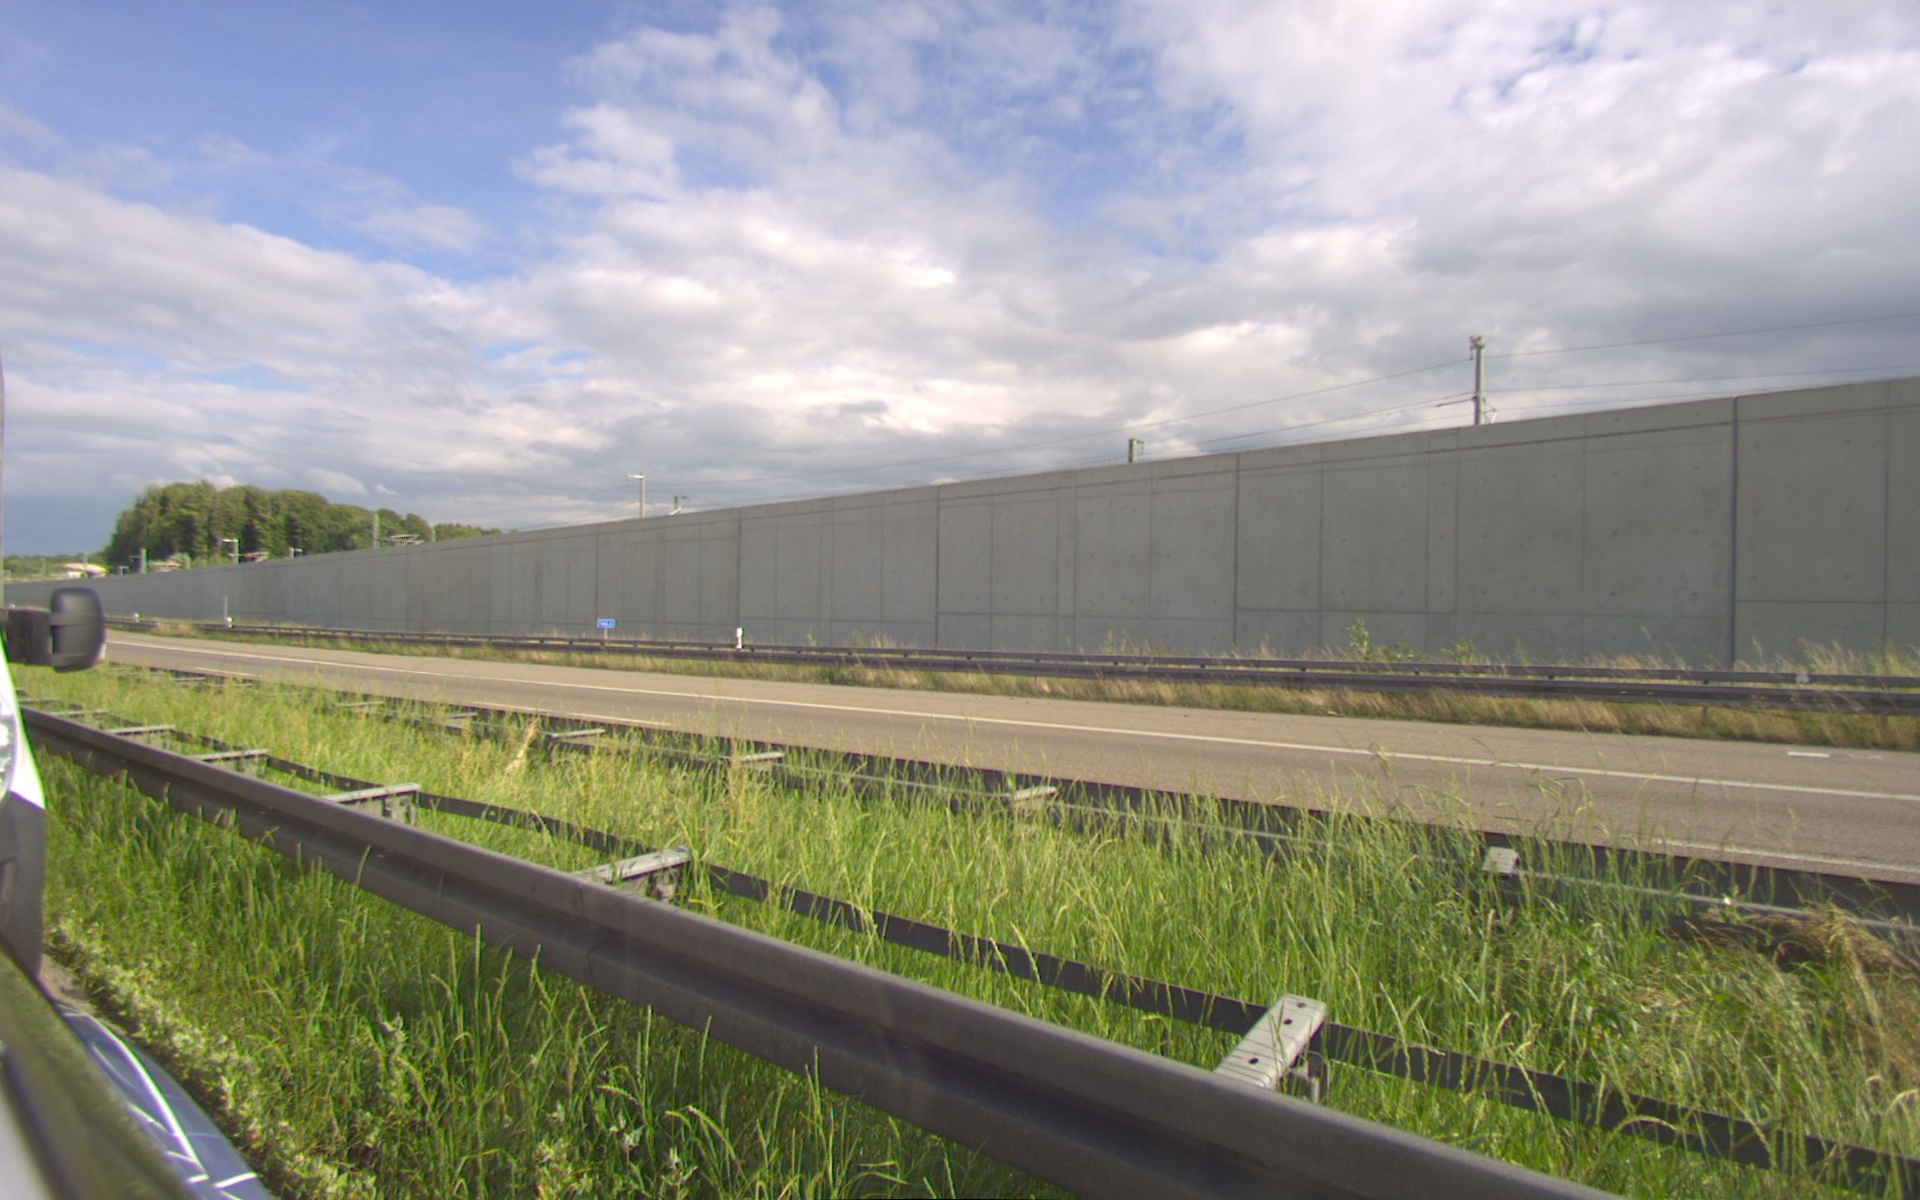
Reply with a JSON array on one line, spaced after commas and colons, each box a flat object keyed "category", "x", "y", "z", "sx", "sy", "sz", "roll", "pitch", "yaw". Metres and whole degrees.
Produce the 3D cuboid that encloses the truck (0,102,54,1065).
[{"category": "truck", "x": -6.624, "y": -0.021, "z": 5.185, "sx": 7.800, "sy": 3.129, "sz": 2.033, "roll": -1, "pitch": 0, "yaw": 41}]
